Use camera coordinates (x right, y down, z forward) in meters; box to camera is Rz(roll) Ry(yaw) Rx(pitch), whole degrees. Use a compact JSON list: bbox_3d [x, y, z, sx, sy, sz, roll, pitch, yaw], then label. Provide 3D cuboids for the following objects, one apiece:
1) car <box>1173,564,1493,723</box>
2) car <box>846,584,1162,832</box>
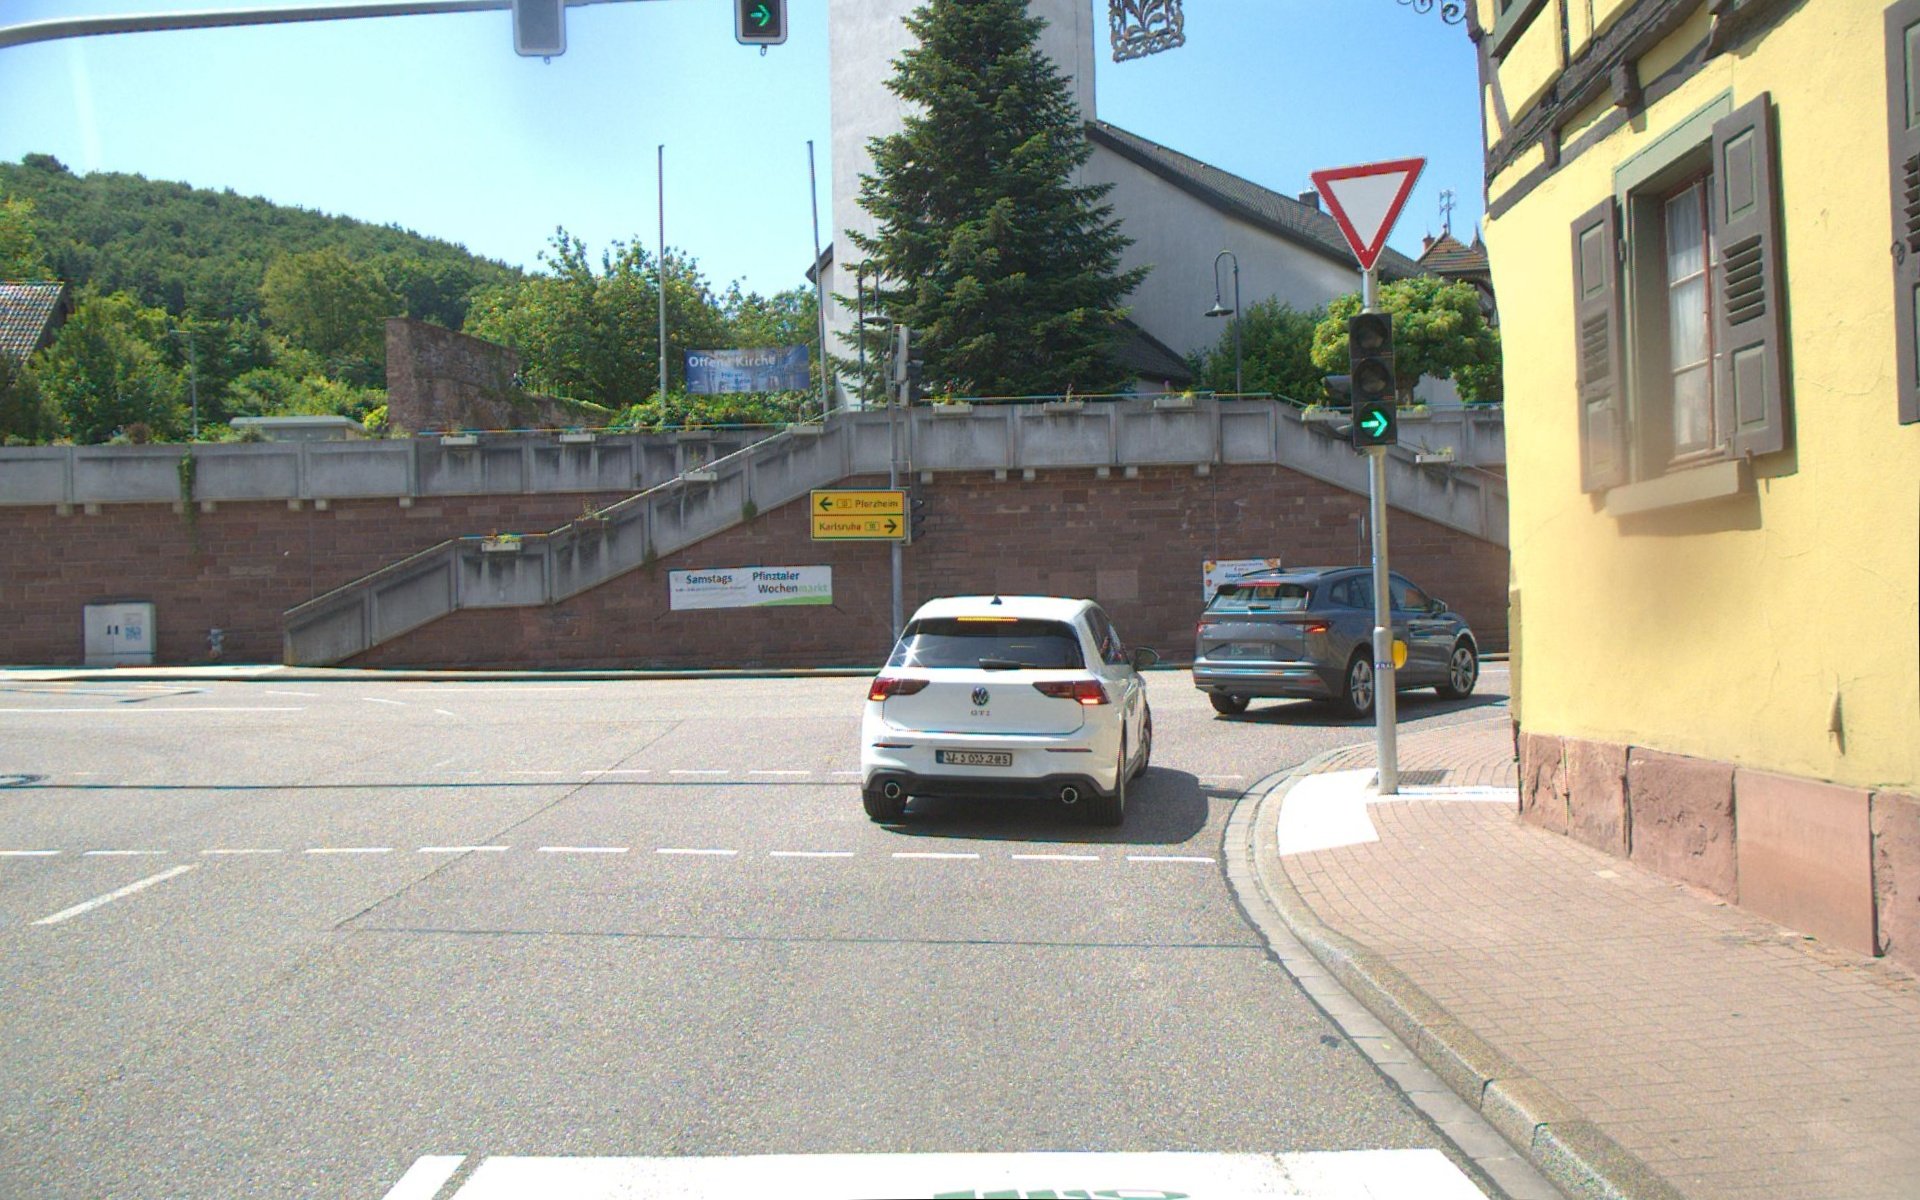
[{"bbox_3d":[4.438,0.410,19.236,1.919,1.610,4.304,0,1,39],"label":"car"},{"bbox_3d":[0.485,0.669,11.997,1.744,1.484,3.866,-2,0,9],"label":"car"}]
